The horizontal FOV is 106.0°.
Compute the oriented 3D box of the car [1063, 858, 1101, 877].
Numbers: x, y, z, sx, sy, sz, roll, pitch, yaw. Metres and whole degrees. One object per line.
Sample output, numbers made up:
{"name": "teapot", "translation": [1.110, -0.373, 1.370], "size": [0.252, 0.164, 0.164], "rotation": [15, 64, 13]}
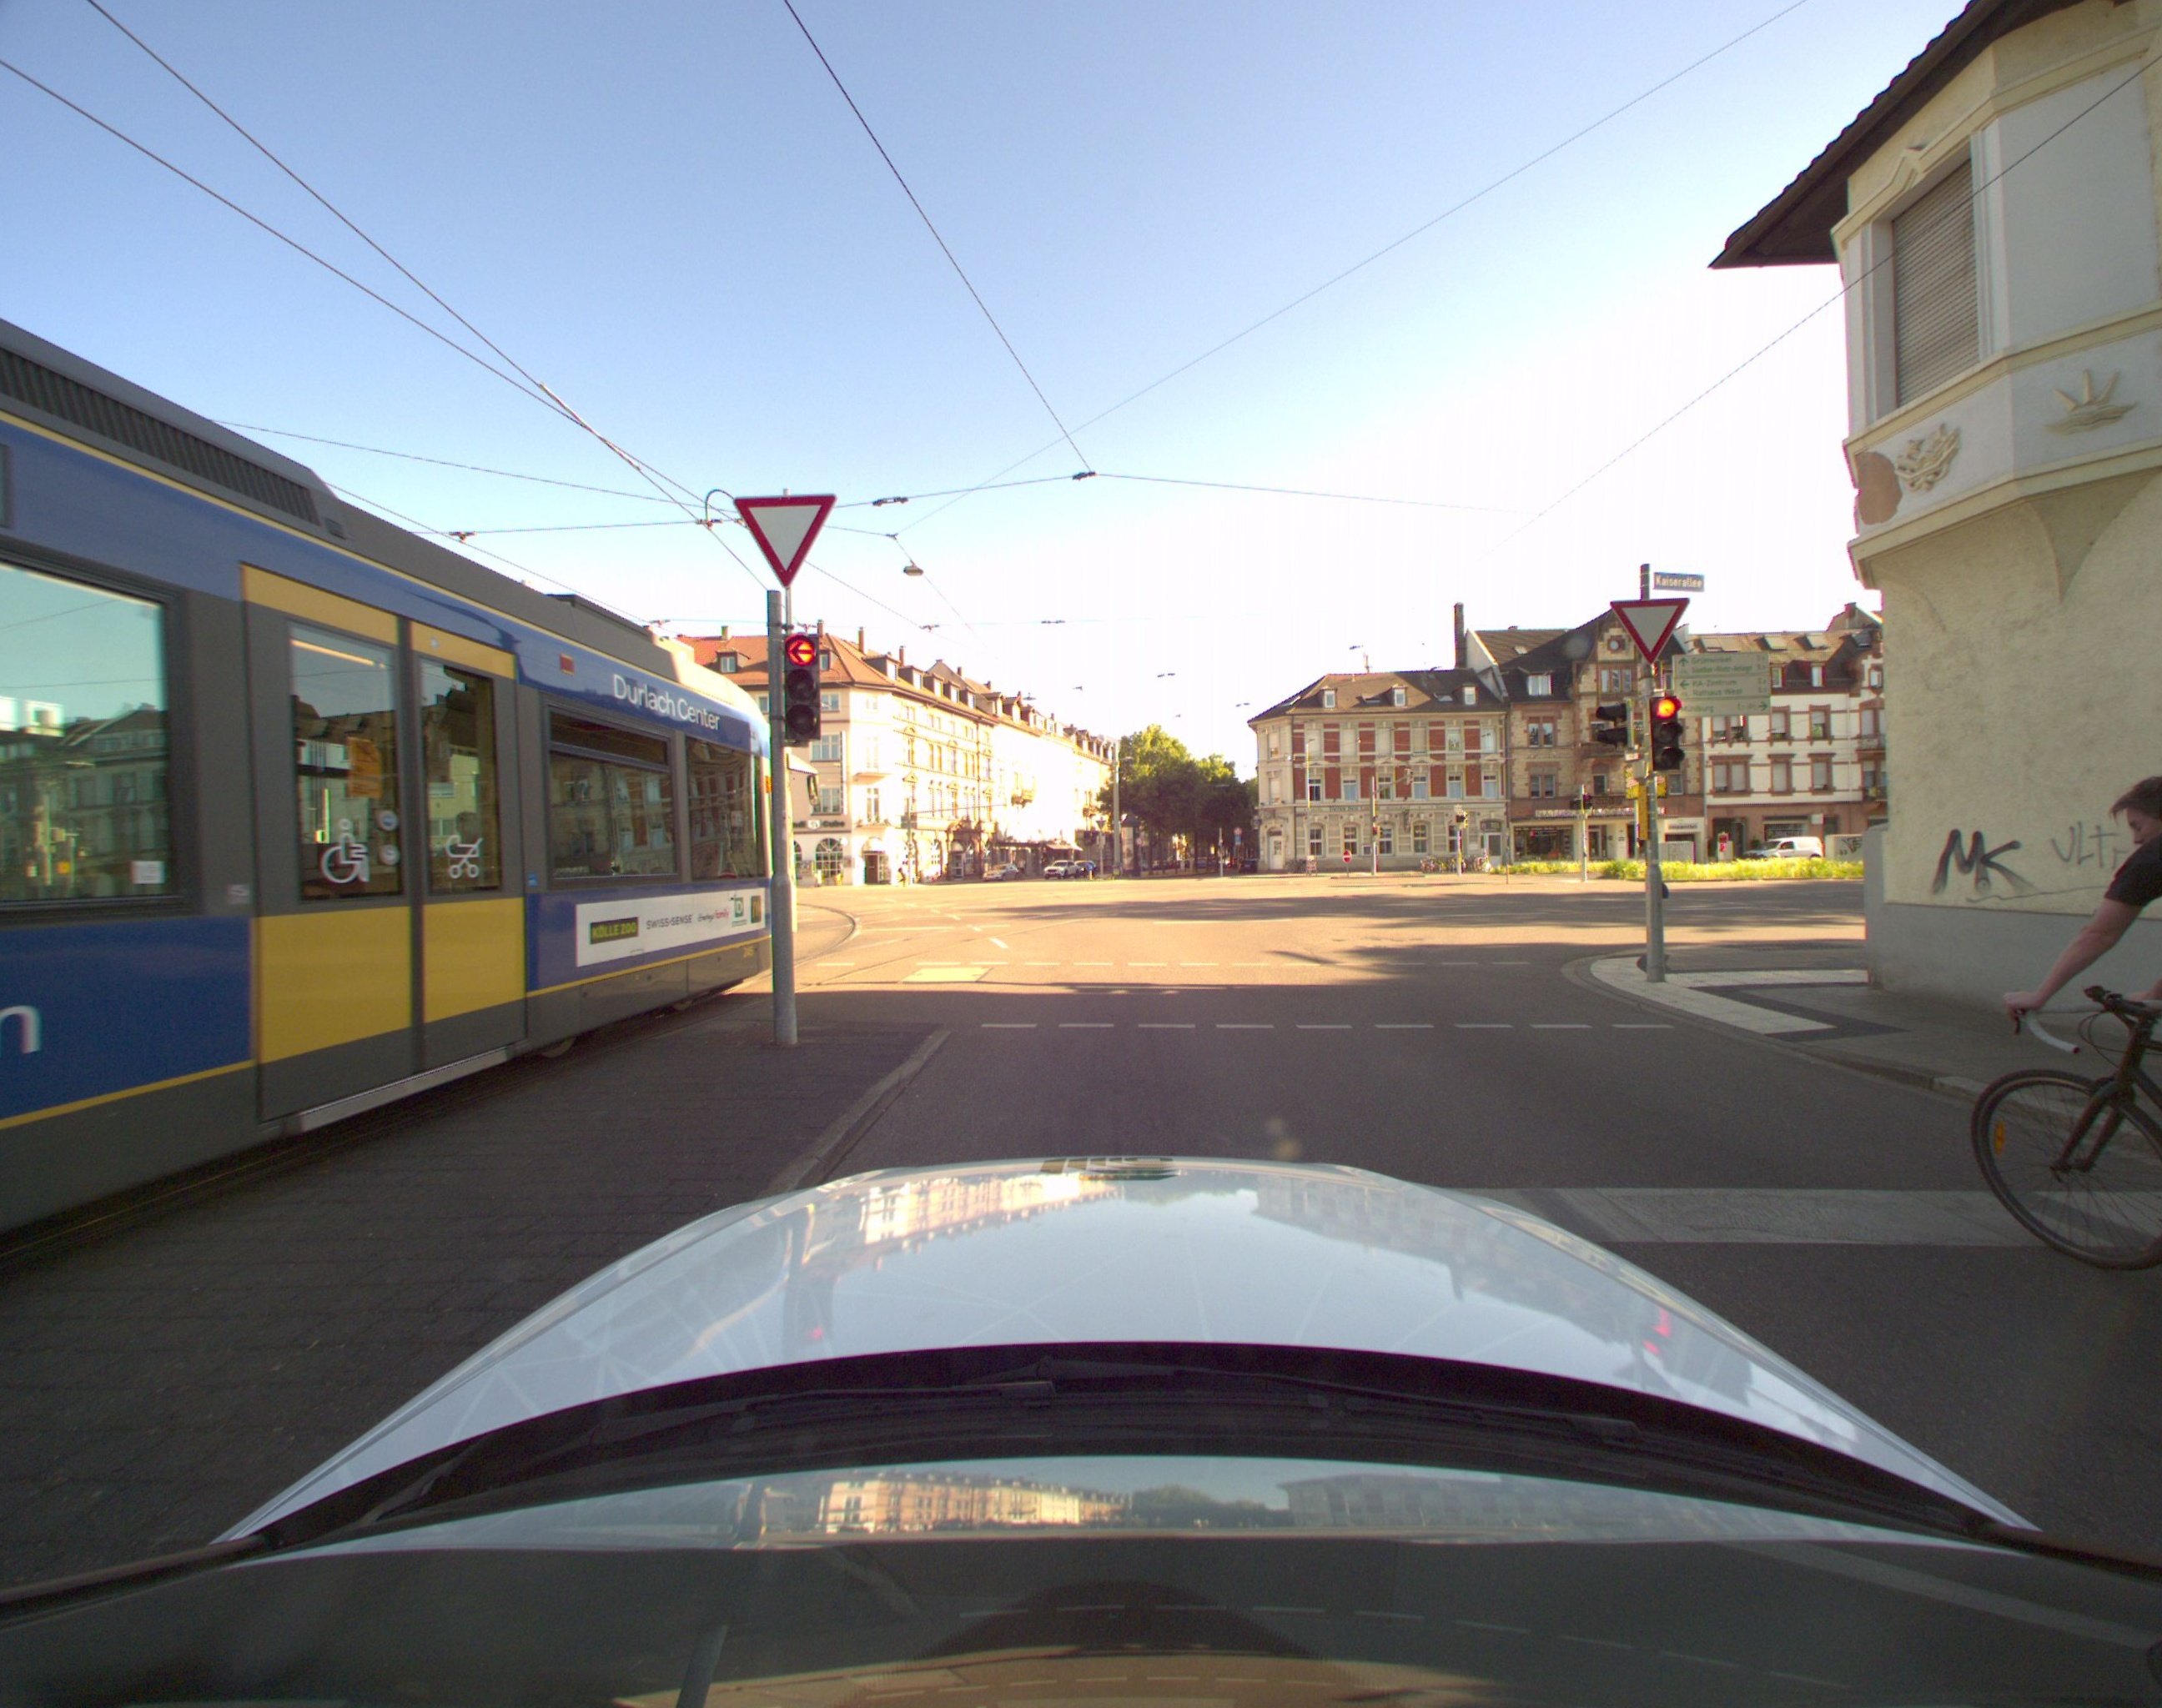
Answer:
{"name": "car", "translation": [0.116, 1.215, 73.988], "size": [1.977, 1.612, 4.413], "rotation": [-2, 0, 20]}

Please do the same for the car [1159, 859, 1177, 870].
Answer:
{"name": "car", "translation": [13.914, 1.695, 130.305], "size": [1.822, 1.552, 4.412], "rotation": [-2, 0, 19]}

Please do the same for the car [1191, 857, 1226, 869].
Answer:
{"name": "car", "translation": [17.993, 1.301, 115.102], "size": [4.335, 1.612, 2.012], "rotation": [-2, 0, 28]}

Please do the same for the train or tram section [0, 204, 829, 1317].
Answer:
{"name": "train or tram section", "translation": [-4.723, -0.284, 4.096], "size": [2.760, 3.499, 12.034], "rotation": [-1, 0, 2]}

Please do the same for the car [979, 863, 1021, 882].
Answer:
{"name": "car", "translation": [-6.684, 1.518, 67.354], "size": [1.883, 1.455, 4.020], "rotation": [-2, 0, 20]}

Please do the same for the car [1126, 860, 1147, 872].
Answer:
{"name": "car", "translation": [7.534, 1.664, 110.953], "size": [1.978, 1.486, 4.017], "rotation": [-1, 0, 16]}

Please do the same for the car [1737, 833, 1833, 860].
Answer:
{"name": "car", "translation": [45.357, -0.468, 52.526], "size": [4.317, 1.640, 2.152], "rotation": [-2, 0, 1]}

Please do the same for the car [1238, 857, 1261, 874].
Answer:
{"name": "car", "translation": [17.015, 1.141, 82.188], "size": [1.978, 1.585, 4.017], "rotation": [-2, 0, 16]}

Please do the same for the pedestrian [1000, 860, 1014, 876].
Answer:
{"name": "pedestrian", "translation": [-6.997, 1.315, 76.884], "size": [0.921, 1.535, 1.142], "rotation": [-1, 0, 16]}

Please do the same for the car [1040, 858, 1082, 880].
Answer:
{"name": "car", "translation": [-1.609, 1.249, 67.511], "size": [1.977, 1.684, 4.413], "rotation": [-2, 0, 20]}

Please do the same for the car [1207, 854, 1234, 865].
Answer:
{"name": "car", "translation": [22.833, 0.967, 133.275], "size": [3.948, 1.706, 2.013], "rotation": [-2, 0, 32]}

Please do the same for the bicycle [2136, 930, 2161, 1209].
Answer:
{"name": "bicycle", "translation": [4.531, 0.865, 2.417], "size": [0.516, 1.116, 1.815], "rotation": [-2, 0, 4]}

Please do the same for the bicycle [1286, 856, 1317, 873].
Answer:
{"name": "bicycle", "translation": [15.498, 0.727, 57.162], "size": [2.081, 1.124, 0.366], "rotation": [0, -1, -3]}

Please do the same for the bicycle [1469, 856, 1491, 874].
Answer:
{"name": "bicycle", "translation": [25.754, 0.696, 52.571], "size": [0.606, 1.136, 2.139], "rotation": [-2, 0, 7]}

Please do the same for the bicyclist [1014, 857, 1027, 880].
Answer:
{"name": "bicyclist", "translation": [-4.813, 1.129, 65.311], "size": [0.674, 1.820, 1.075], "rotation": [-2, 0, 14]}

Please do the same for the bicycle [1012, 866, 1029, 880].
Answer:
{"name": "bicycle", "translation": [-4.818, 1.509, 65.268], "size": [0.675, 1.066, 2.133], "rotation": [-2, 0, 14]}

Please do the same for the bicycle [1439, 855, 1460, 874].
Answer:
{"name": "bicycle", "translation": [23.856, 0.678, 52.757], "size": [0.615, 1.143, 2.178], "rotation": [-2, 0, 7]}

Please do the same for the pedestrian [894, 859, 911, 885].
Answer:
{"name": "pedestrian", "translation": [-12.148, 1.203, 55.562], "size": [1.046, 1.744, 0.806], "rotation": [-1, 0, -10]}

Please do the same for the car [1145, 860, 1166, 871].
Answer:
{"name": "car", "translation": [11.256, 1.726, 122.573], "size": [1.977, 1.612, 4.413], "rotation": [-2, 0, 20]}

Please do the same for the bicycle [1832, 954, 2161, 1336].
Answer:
{"name": "bicycle", "translation": [3.611, 0.955, 2.643], "size": [0.642, 1.010, 1.930], "rotation": [-2, 0, 4]}

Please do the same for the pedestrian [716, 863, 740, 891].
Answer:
{"name": "pedestrian", "translation": [-23.005, 1.498, 53.076], "size": [0.998, 1.775, 0.945], "rotation": [-2, 0, 16]}

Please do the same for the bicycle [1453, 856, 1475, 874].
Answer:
{"name": "bicycle", "translation": [24.777, 0.717, 52.661], "size": [0.615, 1.143, 2.178], "rotation": [-2, 0, 7]}

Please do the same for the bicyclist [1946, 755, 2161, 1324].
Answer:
{"name": "bicyclist", "translation": [3.596, 0.568, 2.566], "size": [0.559, 1.754, 1.102], "rotation": [-2, 0, 4]}

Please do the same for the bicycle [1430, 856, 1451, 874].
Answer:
{"name": "bicycle", "translation": [23.277, 0.698, 52.809], "size": [0.615, 1.143, 2.178], "rotation": [-2, 0, 7]}

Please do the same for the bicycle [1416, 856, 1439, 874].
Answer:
{"name": "bicycle", "translation": [22.499, 0.707, 52.958], "size": [0.802, 1.143, 2.178], "rotation": [-2, 0, 7]}

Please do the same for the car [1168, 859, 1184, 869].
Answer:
{"name": "car", "translation": [15.832, 1.715, 136.139], "size": [1.750, 1.549, 4.411], "rotation": [-2, 0, 18]}

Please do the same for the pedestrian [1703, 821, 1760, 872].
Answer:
{"name": "pedestrian", "translation": [27.111, -0.297, 33.971], "size": [1.314, 2.044, 1.307], "rotation": [-1, 0, 1]}
